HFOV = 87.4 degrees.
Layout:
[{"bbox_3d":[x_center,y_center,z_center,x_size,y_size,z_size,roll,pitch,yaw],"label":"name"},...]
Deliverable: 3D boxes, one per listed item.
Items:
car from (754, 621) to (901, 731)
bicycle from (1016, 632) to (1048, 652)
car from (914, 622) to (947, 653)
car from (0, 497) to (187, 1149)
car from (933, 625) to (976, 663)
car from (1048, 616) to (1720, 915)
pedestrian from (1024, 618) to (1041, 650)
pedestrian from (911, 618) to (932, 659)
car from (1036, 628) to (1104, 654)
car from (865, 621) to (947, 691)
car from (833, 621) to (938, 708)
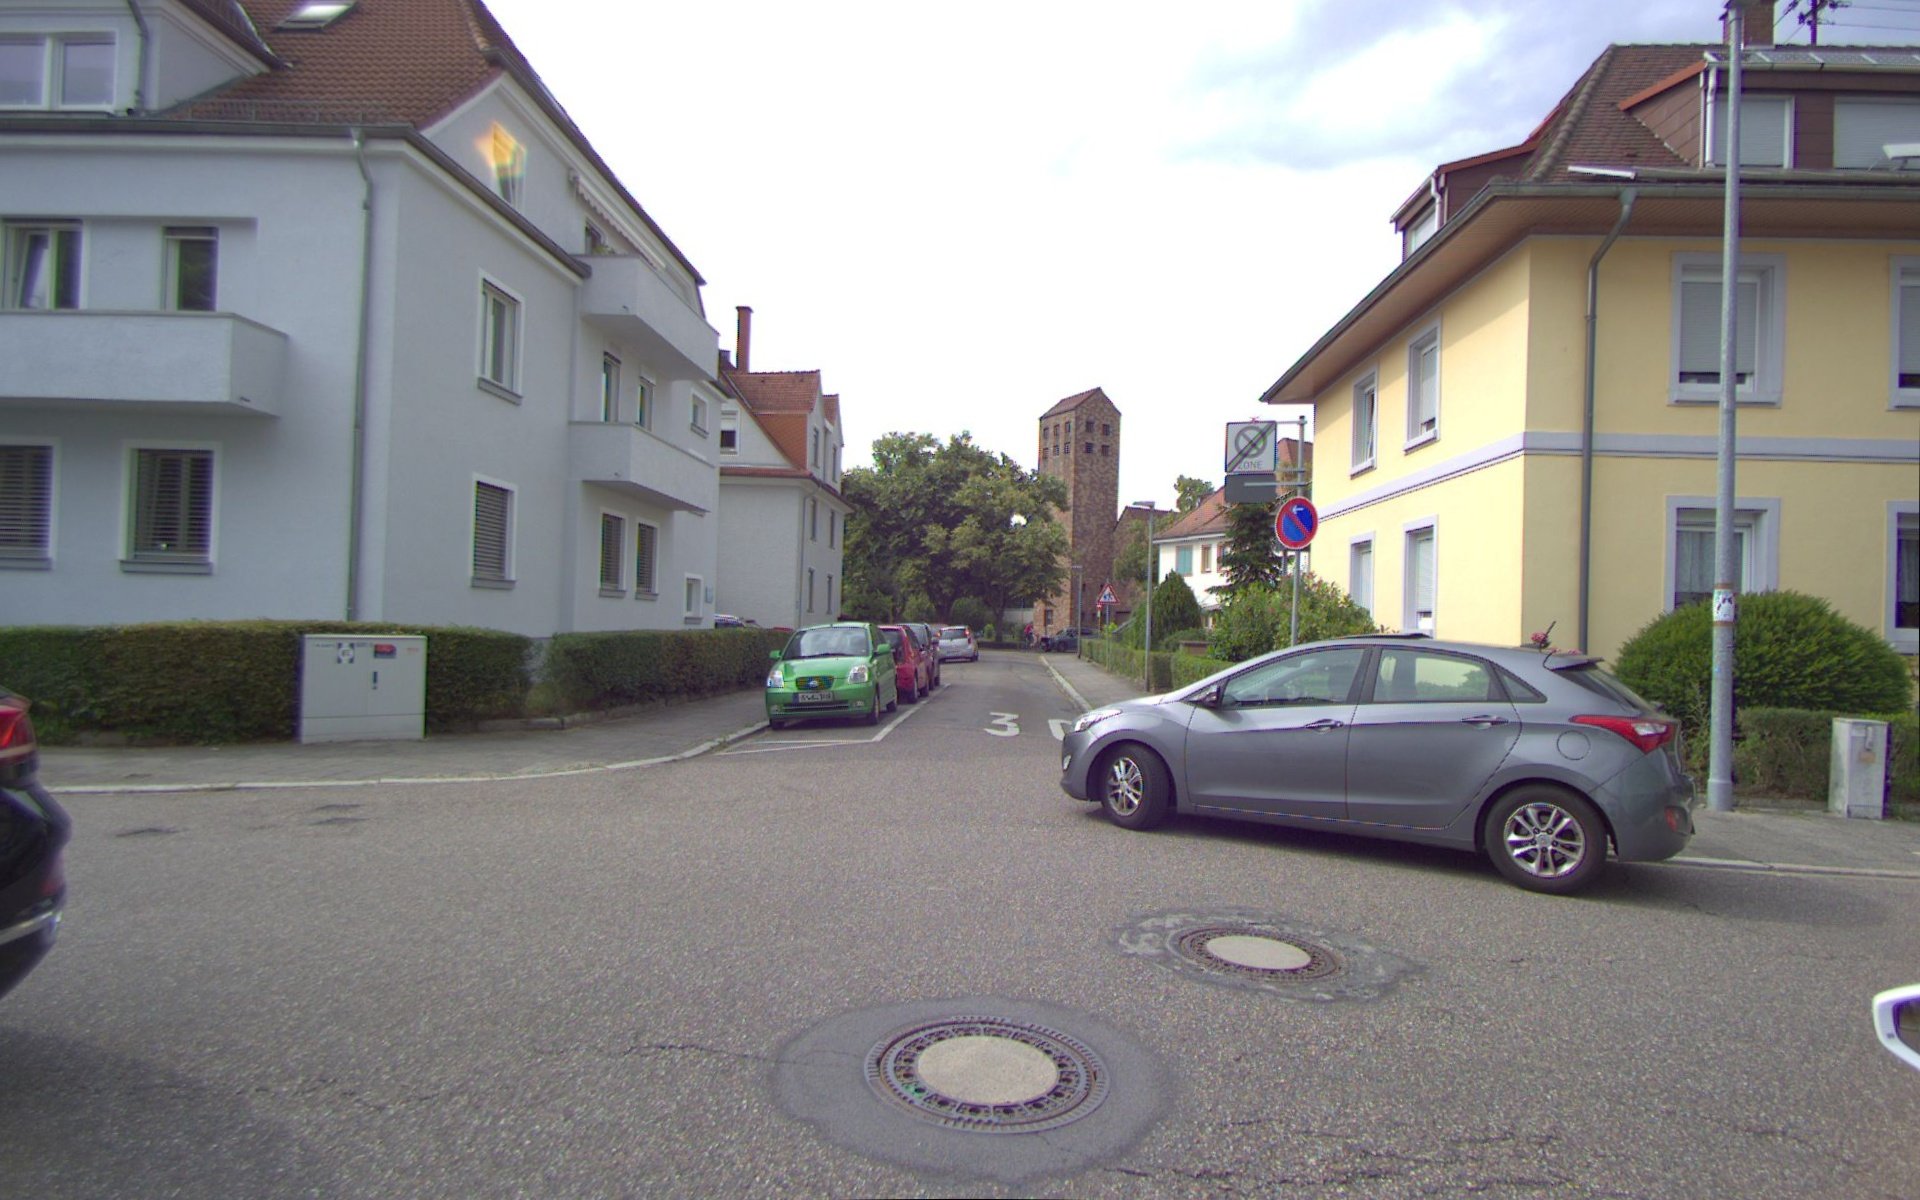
[{"bbox_3d":[-1.890,1.080,15.295,1.618,1.440,3.483,-1,-2,2],"label":"car"},{"bbox_3d":[4.269,2.519,59.923,1.858,1.145,0.454,2,-1,1],"label":"bicycle"},{"bbox_3d":[-1.544,1.929,52.390,1.619,1.515,3.480,-1,-2,-3],"label":"car"},{"bbox_3d":[-3.734,0.504,1.247,1.787,1.540,4.040,0,-1,24],"label":"car"},{"bbox_3d":[-0.182,1.843,42.704,1.618,1.515,3.483,-1,-2,2],"label":"car"},{"bbox_3d":[2.840,0.937,7.213,3.971,1.500,1.851,1,-2,32],"label":"car"},{"bbox_3d":[4.309,2.017,59.895,0.910,1.841,0.624,2,-1,1],"label":"pedestrian"},{"bbox_3d":[-1.820,1.825,47.653,0.866,1.903,1.079,2,-1,4],"label":"pedestrian"},{"bbox_3d":[6.967,2.586,63.652,4.143,1.483,1.684,2,0,3],"label":"car"},{"bbox_3d":[-1.232,1.297,24.148,1.618,1.515,3.483,-1,-2,2],"label":"car"},{"bbox_3d":[-1.372,1.203,19.614,1.618,1.515,3.483,-1,-2,2],"label":"car"}]
